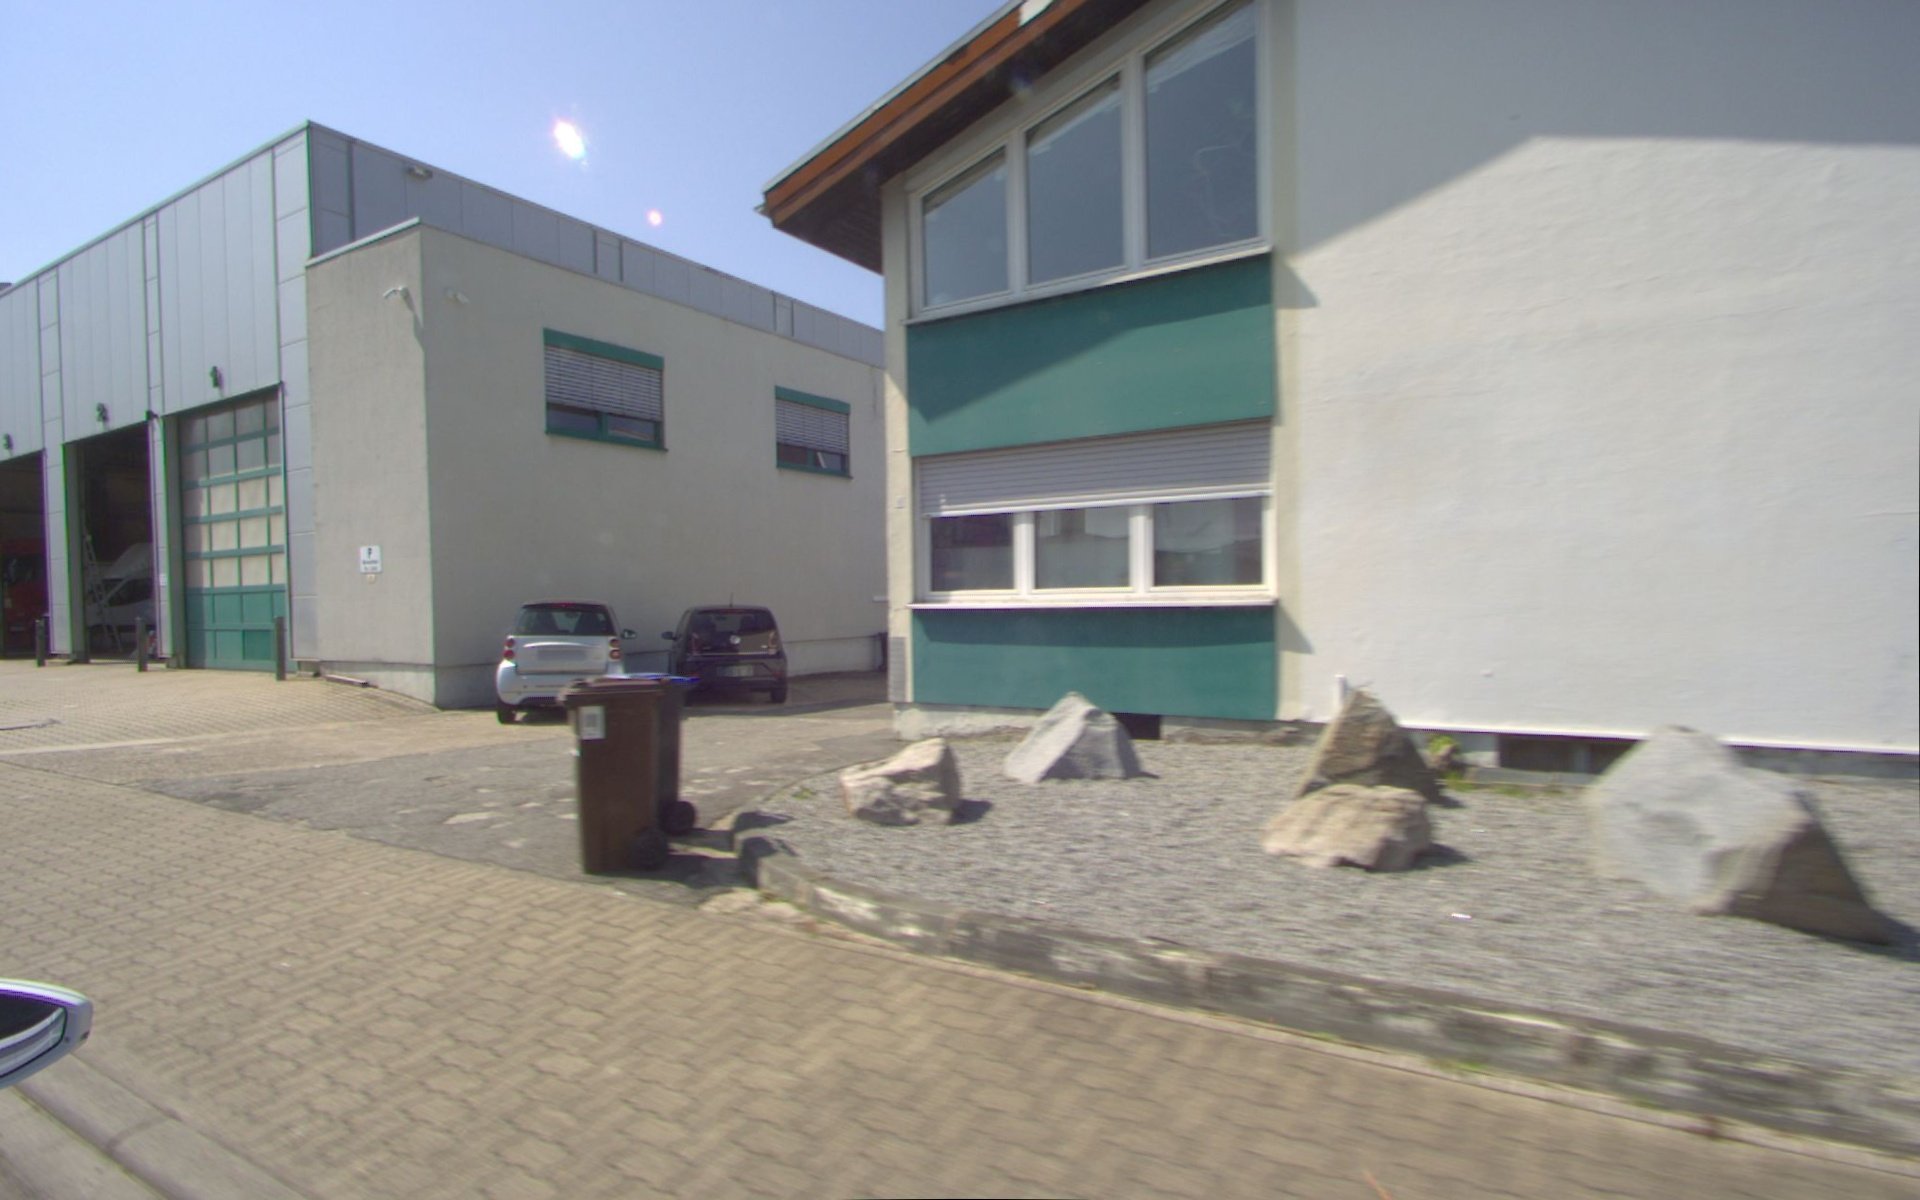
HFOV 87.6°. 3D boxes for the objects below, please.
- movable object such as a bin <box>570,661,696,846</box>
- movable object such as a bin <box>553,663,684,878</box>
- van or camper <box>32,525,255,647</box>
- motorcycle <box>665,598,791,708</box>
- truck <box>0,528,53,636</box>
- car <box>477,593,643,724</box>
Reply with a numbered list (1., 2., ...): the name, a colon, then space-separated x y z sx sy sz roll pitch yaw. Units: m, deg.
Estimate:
1. movable object such as a bin: -1.894 0.857 5.801 0.482 0.959 0.510 0 2 44
2. movable object such as a bin: -1.748 0.828 5.097 0.560 0.959 0.555 -2 2 -24
3. van or camper: -24.218 -0.376 29.921 1.969 3.332 4.750 0 1 29
4. motorcycle: -3.825 0.754 16.238 1.747 1.512 3.602 -1 1 -16
5. truck: -35.120 -0.472 32.780 2.723 3.697 7.349 0 3 26
6. car: -5.505 0.705 14.212 1.747 1.560 3.695 -1 1 -16
